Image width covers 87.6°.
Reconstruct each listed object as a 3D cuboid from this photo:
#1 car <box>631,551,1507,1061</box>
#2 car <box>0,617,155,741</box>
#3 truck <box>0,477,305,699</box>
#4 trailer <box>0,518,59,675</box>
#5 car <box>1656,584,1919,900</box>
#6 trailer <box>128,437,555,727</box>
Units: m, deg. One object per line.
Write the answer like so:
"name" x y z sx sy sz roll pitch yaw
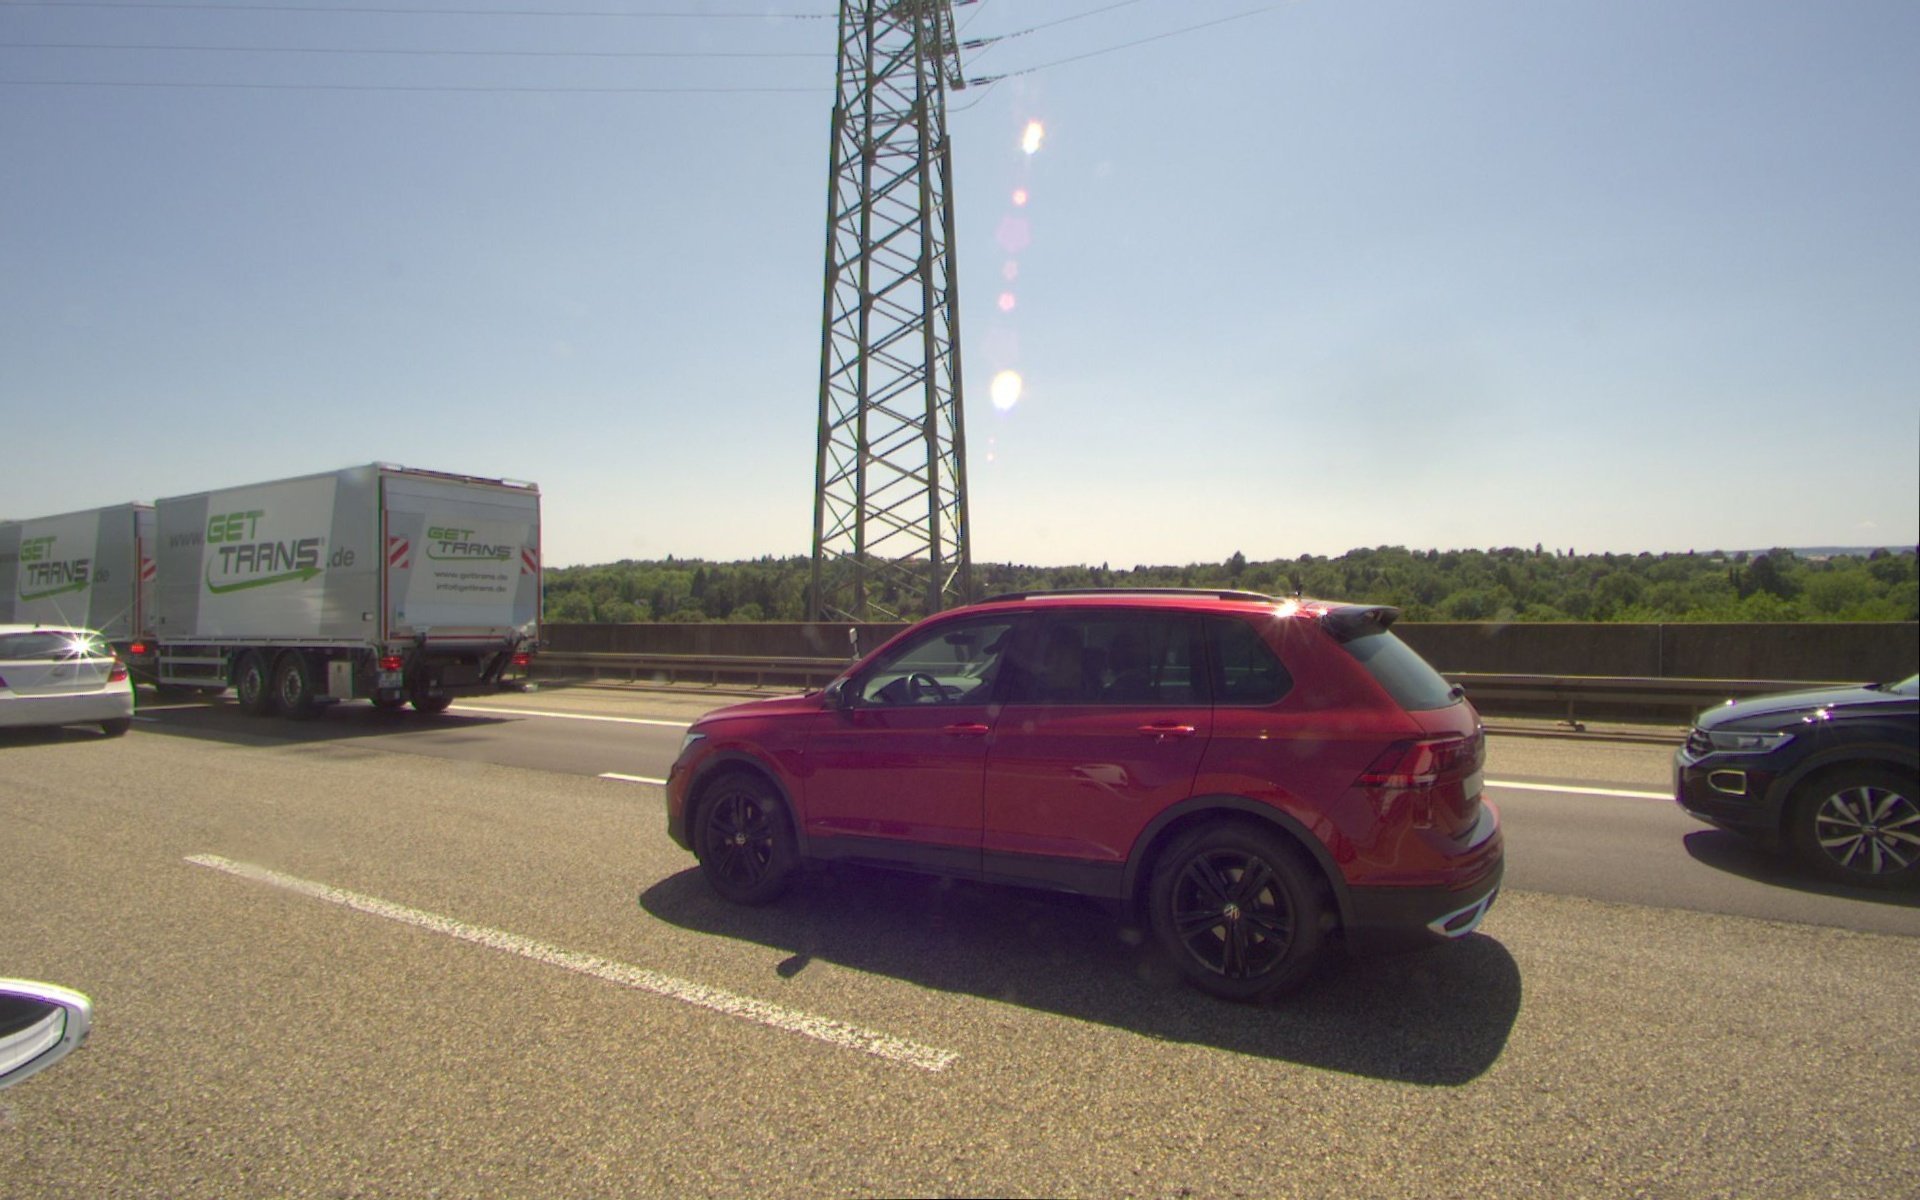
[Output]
"car" 0.387 0.762 5.214 4.224 1.700 1.706 -1 -2 32
"car" -12.881 1.013 13.613 3.875 1.489 1.813 -1 -2 31
"truck" -18.510 -0.071 21.947 10.458 3.984 2.847 -1 -2 32
"trailer" -29.140 -0.008 28.547 8.850 4.140 2.679 -1 -2 31
"car" 6.387 0.755 5.520 4.058 1.676 1.706 -1 -2 32
"trailer" -10.693 -0.127 16.998 8.097 3.941 2.894 -1 -2 32
